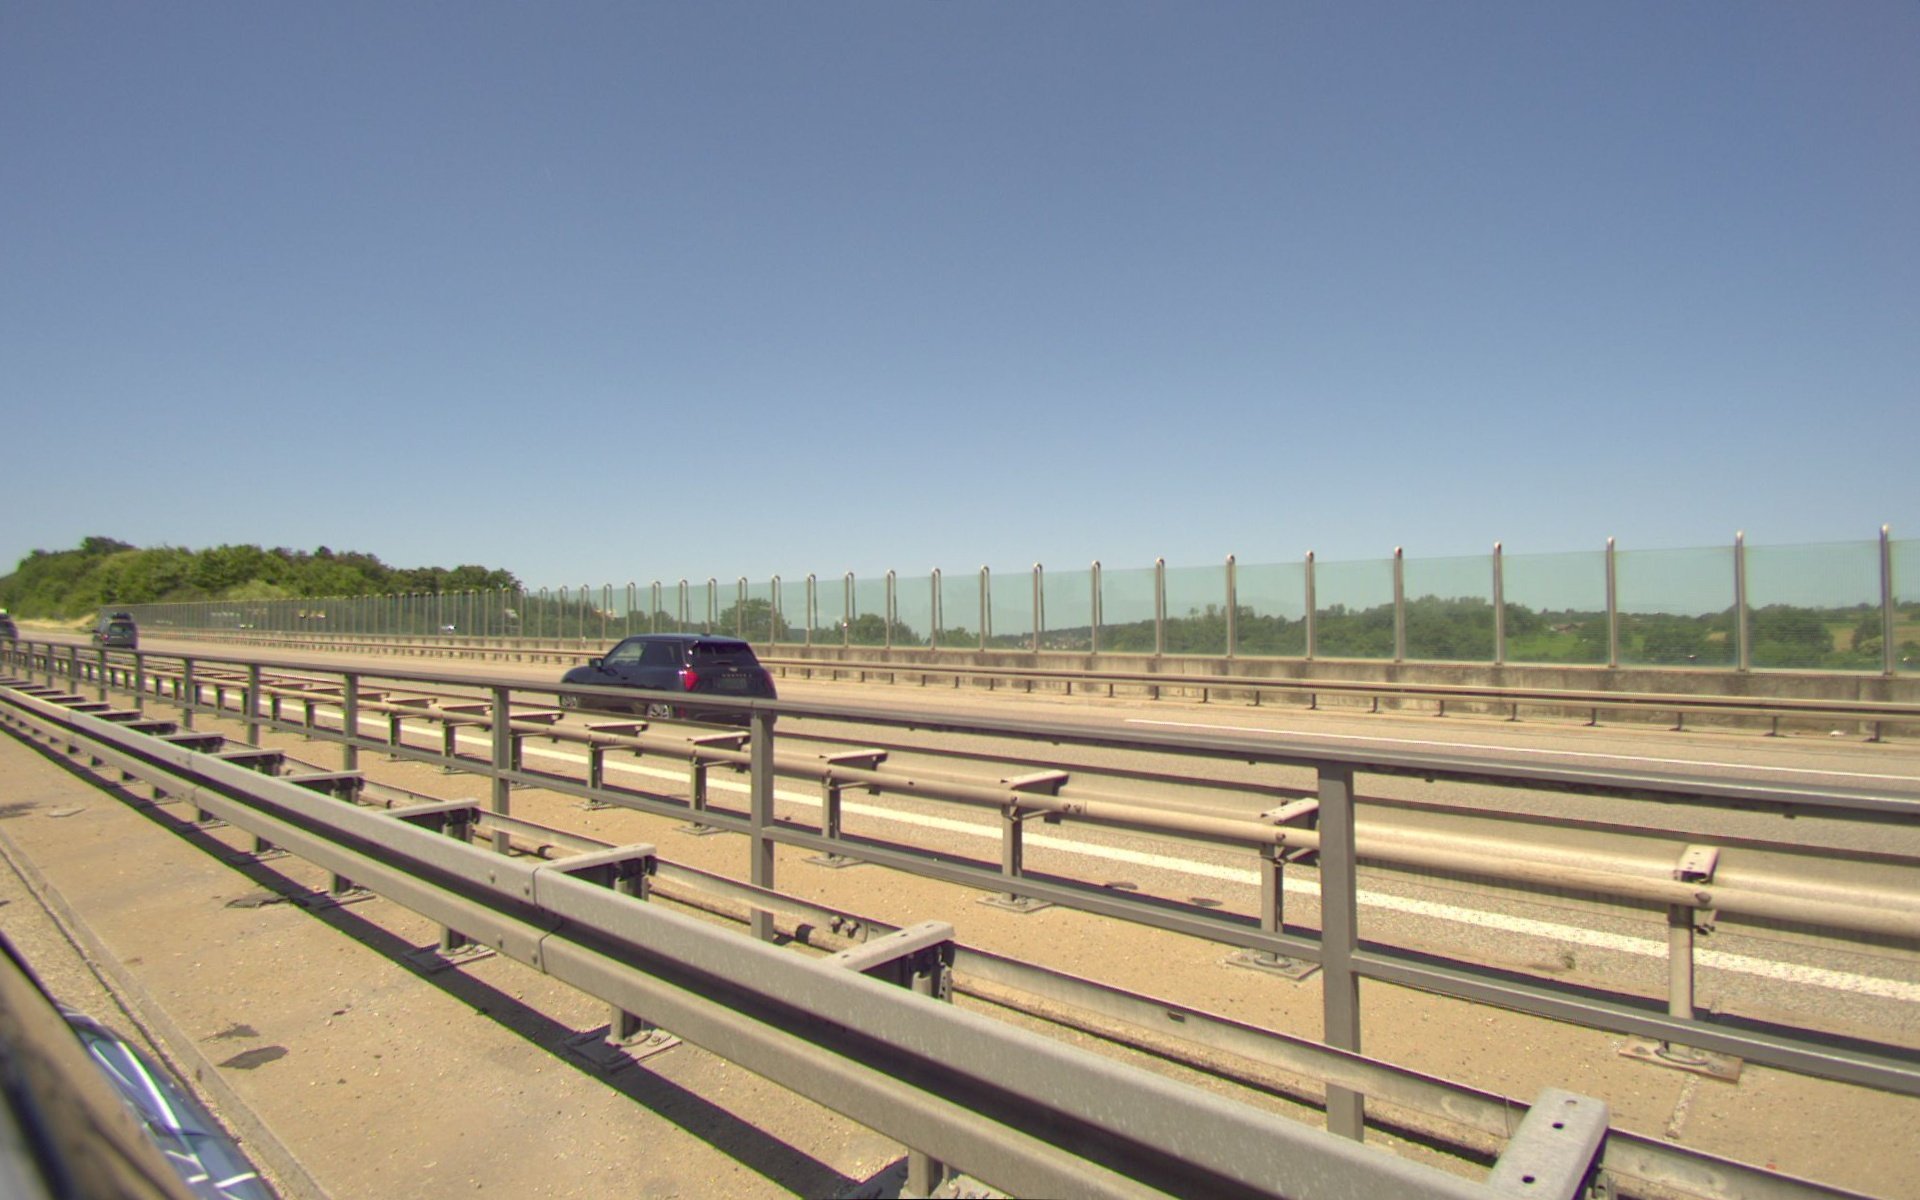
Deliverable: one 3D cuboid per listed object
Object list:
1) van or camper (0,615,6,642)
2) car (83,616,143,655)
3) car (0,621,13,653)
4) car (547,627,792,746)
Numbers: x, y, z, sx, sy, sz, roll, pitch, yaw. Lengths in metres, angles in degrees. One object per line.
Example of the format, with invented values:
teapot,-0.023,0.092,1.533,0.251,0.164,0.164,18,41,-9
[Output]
van or camper,-112.168,3.251,116.738,7.023,3.047,2.397,-2,-4,41
car,-51.057,2.133,60.981,4.265,2.233,1.973,-2,-4,41
car,-68.189,2.584,71.197,4.266,2.147,1.843,-2,-4,42
car,-4.212,1.142,14.417,3.700,1.475,1.602,-2,-4,41
